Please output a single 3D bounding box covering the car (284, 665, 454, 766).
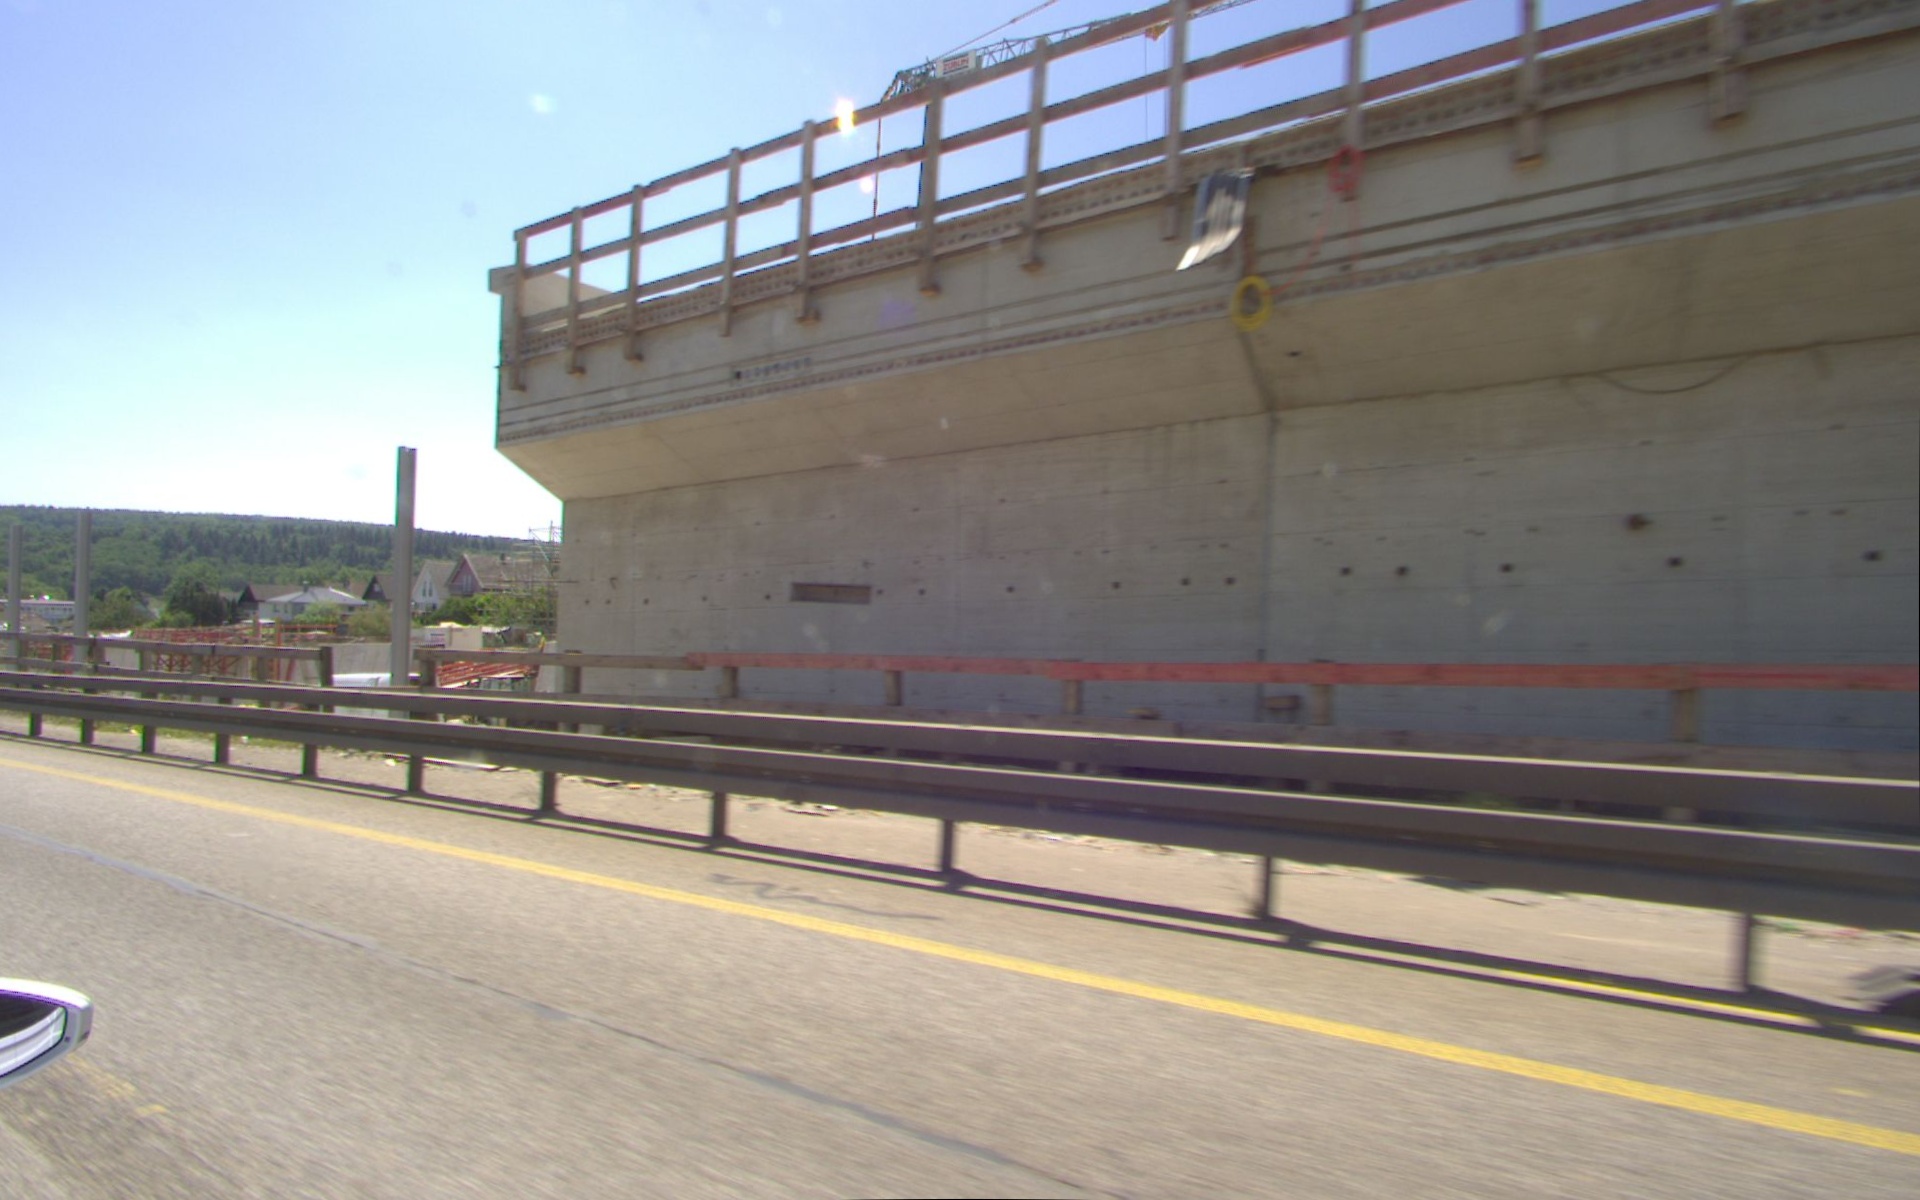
[{"bbox_3d":[-19.185,3.587,32.342,6.931,2.892,2.139,-2,-2,36],"label":"car"}]

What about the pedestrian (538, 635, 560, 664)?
[{"bbox_3d":[-29.136,3.500,71.011,0.960,2.013,1.134,-2,-2,35],"label":"pedestrian"}]

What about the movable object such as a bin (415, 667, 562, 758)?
[{"bbox_3d":[-15.818,3.662,33.493,5.430,2.710,2.138,-2,-2,36],"label":"movable object such as a bin"}]

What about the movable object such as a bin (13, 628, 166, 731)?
[{"bbox_3d":[-44.148,3.895,50.669,9.518,4.803,3.222,-2,-2,32],"label":"movable object such as a bin"}]
